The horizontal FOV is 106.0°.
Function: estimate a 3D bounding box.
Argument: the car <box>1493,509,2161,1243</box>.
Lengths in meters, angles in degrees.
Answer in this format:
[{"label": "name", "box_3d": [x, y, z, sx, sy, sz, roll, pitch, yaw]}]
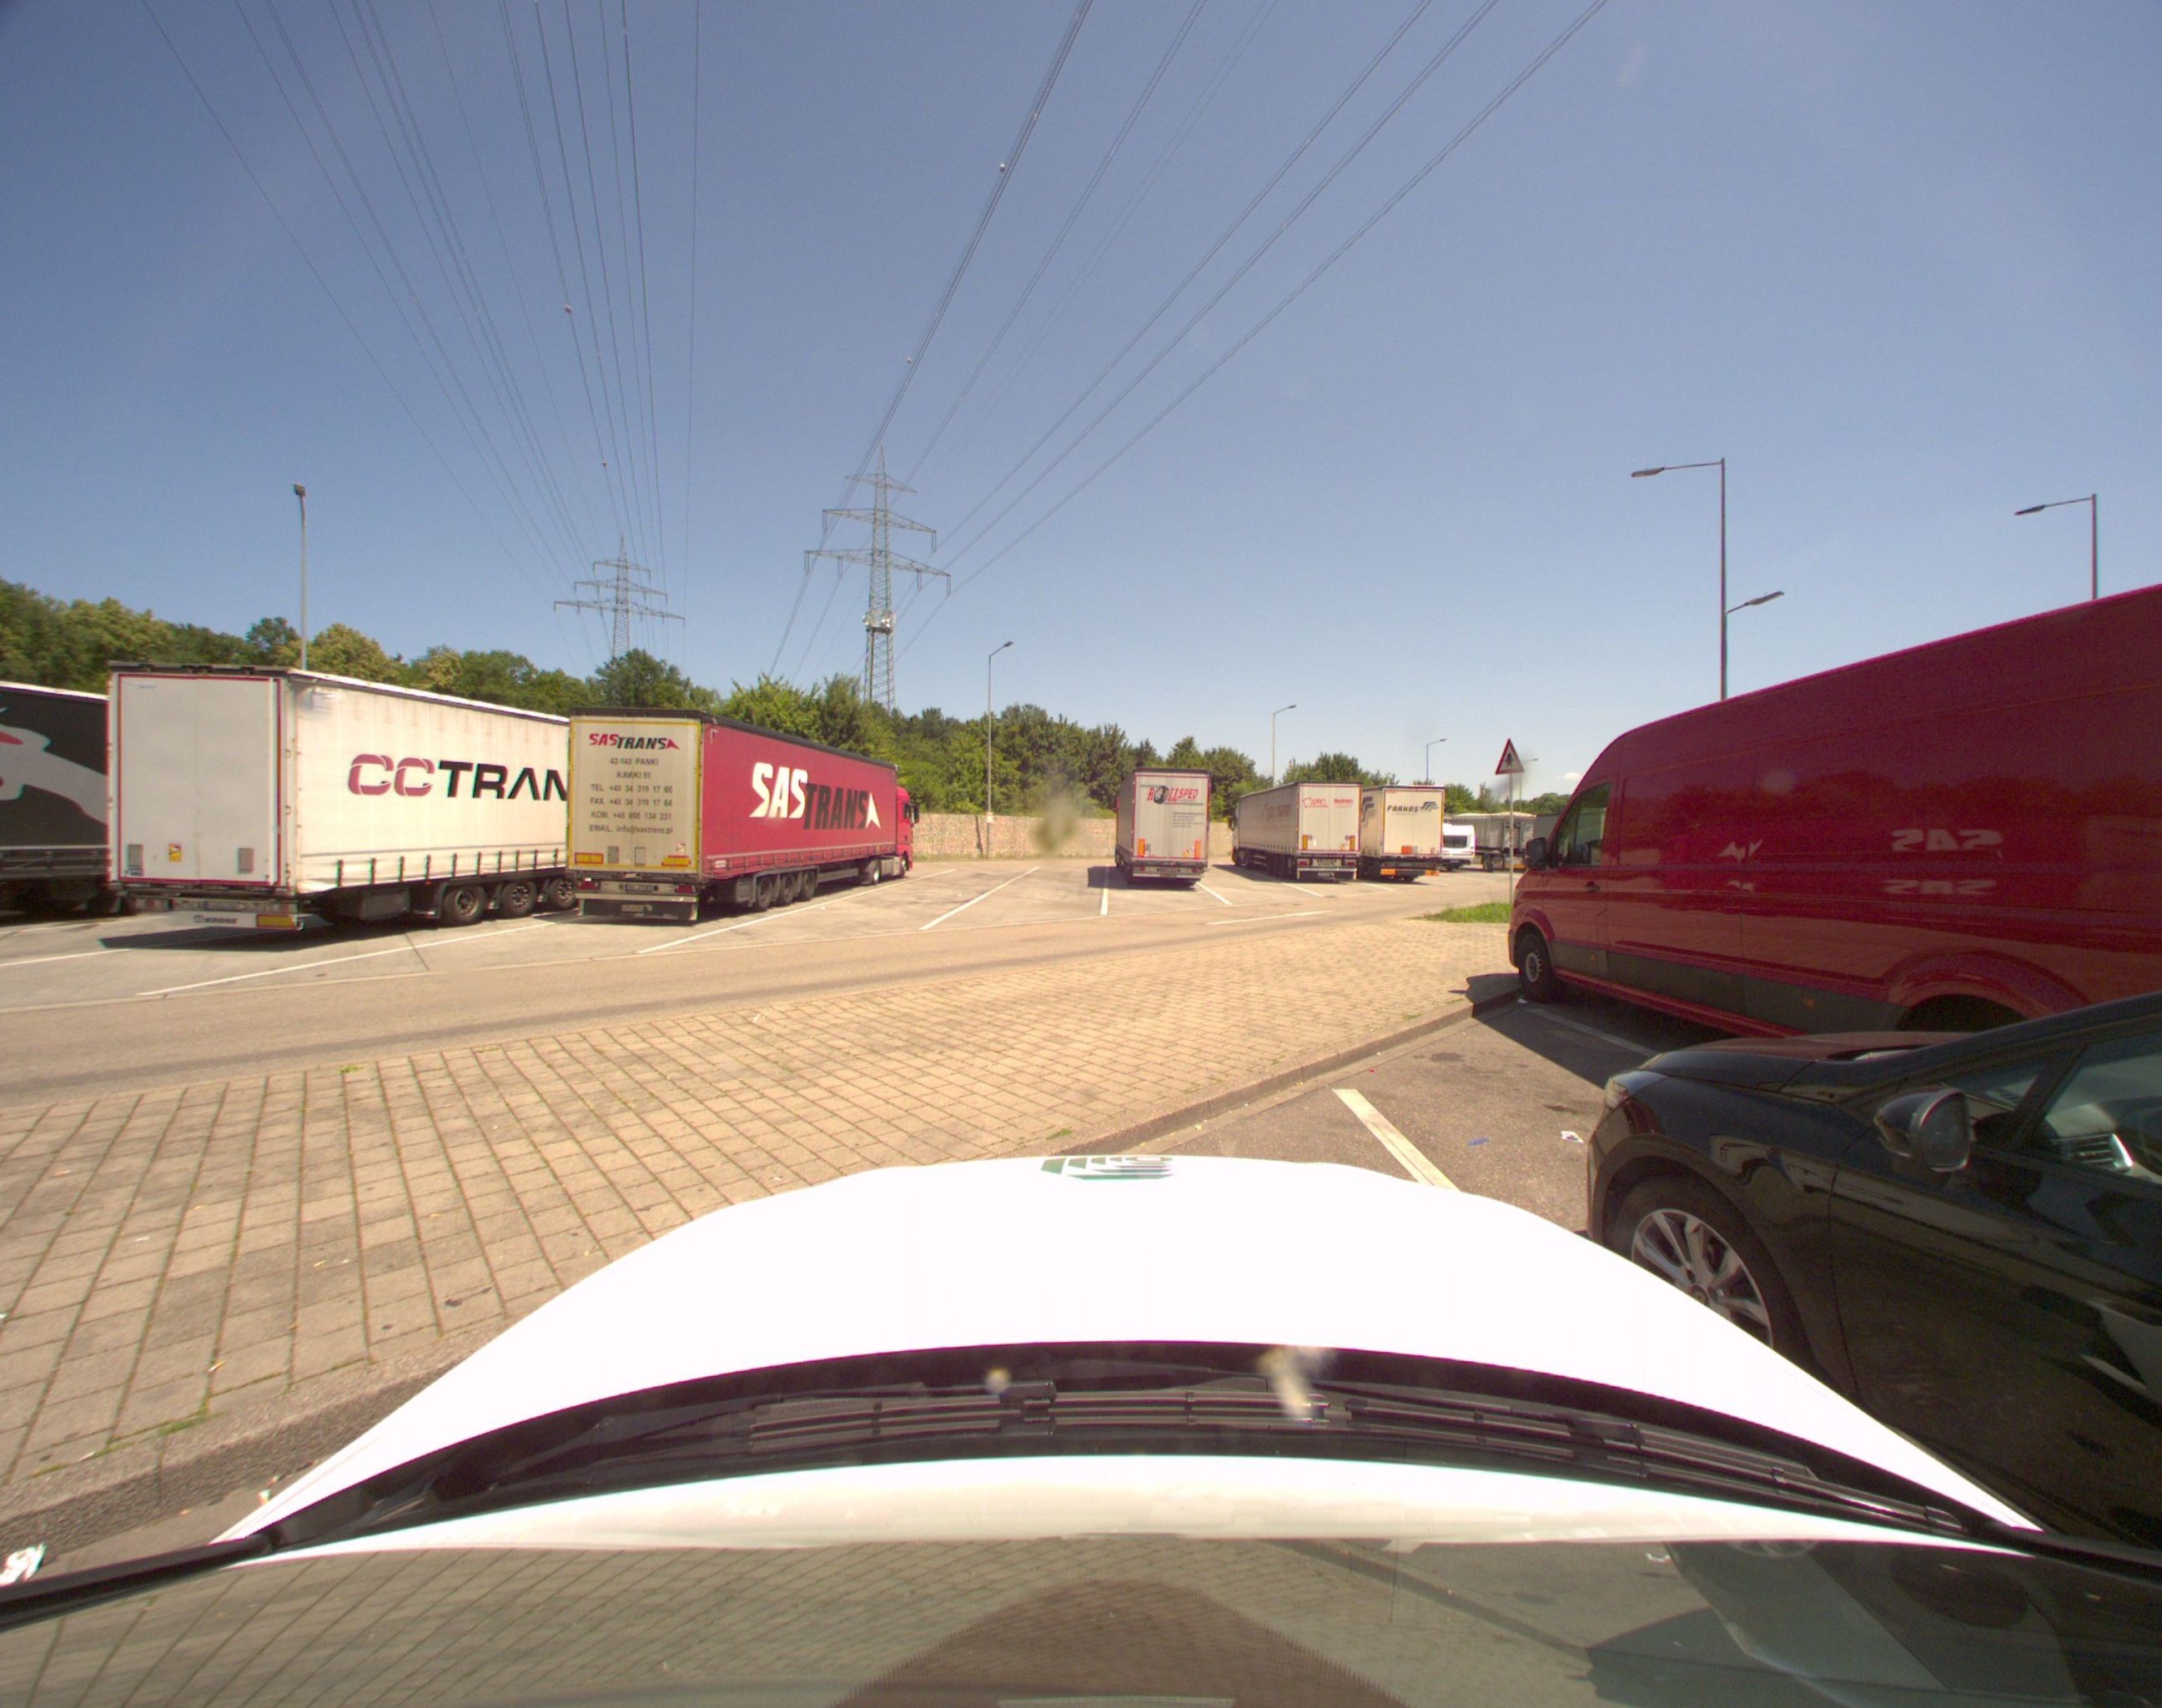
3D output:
[{"label": "car", "box_3d": [5.121, 0.034, 5.500, 1.984, 2.633, 6.393, -1, 1, 5]}]

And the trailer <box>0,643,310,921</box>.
[{"label": "trailer", "box_3d": [-18.560, -1.169, 14.989, 2.668, 4.444, 6.151, -1, 1, 2]}]

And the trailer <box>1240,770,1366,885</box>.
[{"label": "trailer", "box_3d": [9.901, -1.110, 38.133, 2.672, 4.452, 12.833, -1, 1, 1]}]

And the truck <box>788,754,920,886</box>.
[{"label": "truck", "box_3d": [-7.752, -1.117, 28.695, 2.795, 4.133, 5.896, -1, 1, 2]}]

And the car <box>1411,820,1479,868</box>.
[{"label": "car", "box_3d": [20.535, -0.514, 46.115, 2.107, 2.599, 4.001, 0, -1, 2]}]

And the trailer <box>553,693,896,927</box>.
[{"label": "trailer", "box_3d": [-8.001, -0.895, 21.439, 2.789, 4.219, 13.208, -1, 1, 2]}]

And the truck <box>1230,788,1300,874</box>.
[{"label": "truck", "box_3d": [10.073, -1.229, 45.121, 2.651, 4.452, 5.866, -1, 1, 2]}]

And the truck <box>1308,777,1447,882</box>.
[{"label": "truck", "box_3d": [13.533, -0.936, 38.619, 2.577, 4.226, 11.974, 0, -1, 2]}]

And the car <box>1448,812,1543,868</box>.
[{"label": "car", "box_3d": [24.133, -0.817, 47.737, 2.490, 3.074, 6.353, -1, 1, 2]}]

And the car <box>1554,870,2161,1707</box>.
[{"label": "car", "box_3d": [2.559, 0.772, 0.891, 1.773, 1.457, 3.680, 0, -1, -4]}]

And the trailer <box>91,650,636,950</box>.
[{"label": "trailer", "box_3d": [-12.185, -0.808, 15.408, 2.744, 4.152, 8.291, 0, 1, 2]}]

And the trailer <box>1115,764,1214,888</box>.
[{"label": "trailer", "box_3d": [2.945, -0.999, 32.135, 2.887, 4.013, 11.318, -1, 1, 1]}]

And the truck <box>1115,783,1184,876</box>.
[{"label": "truck", "box_3d": [3.051, -1.087, 37.798, 2.861, 3.980, 6.032, -1, 1, 1]}]

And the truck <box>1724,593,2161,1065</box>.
[{"label": "truck", "box_3d": [7.791, -0.148, 5.976, 2.508, 2.827, 4.821, 0, -1, 3]}]
